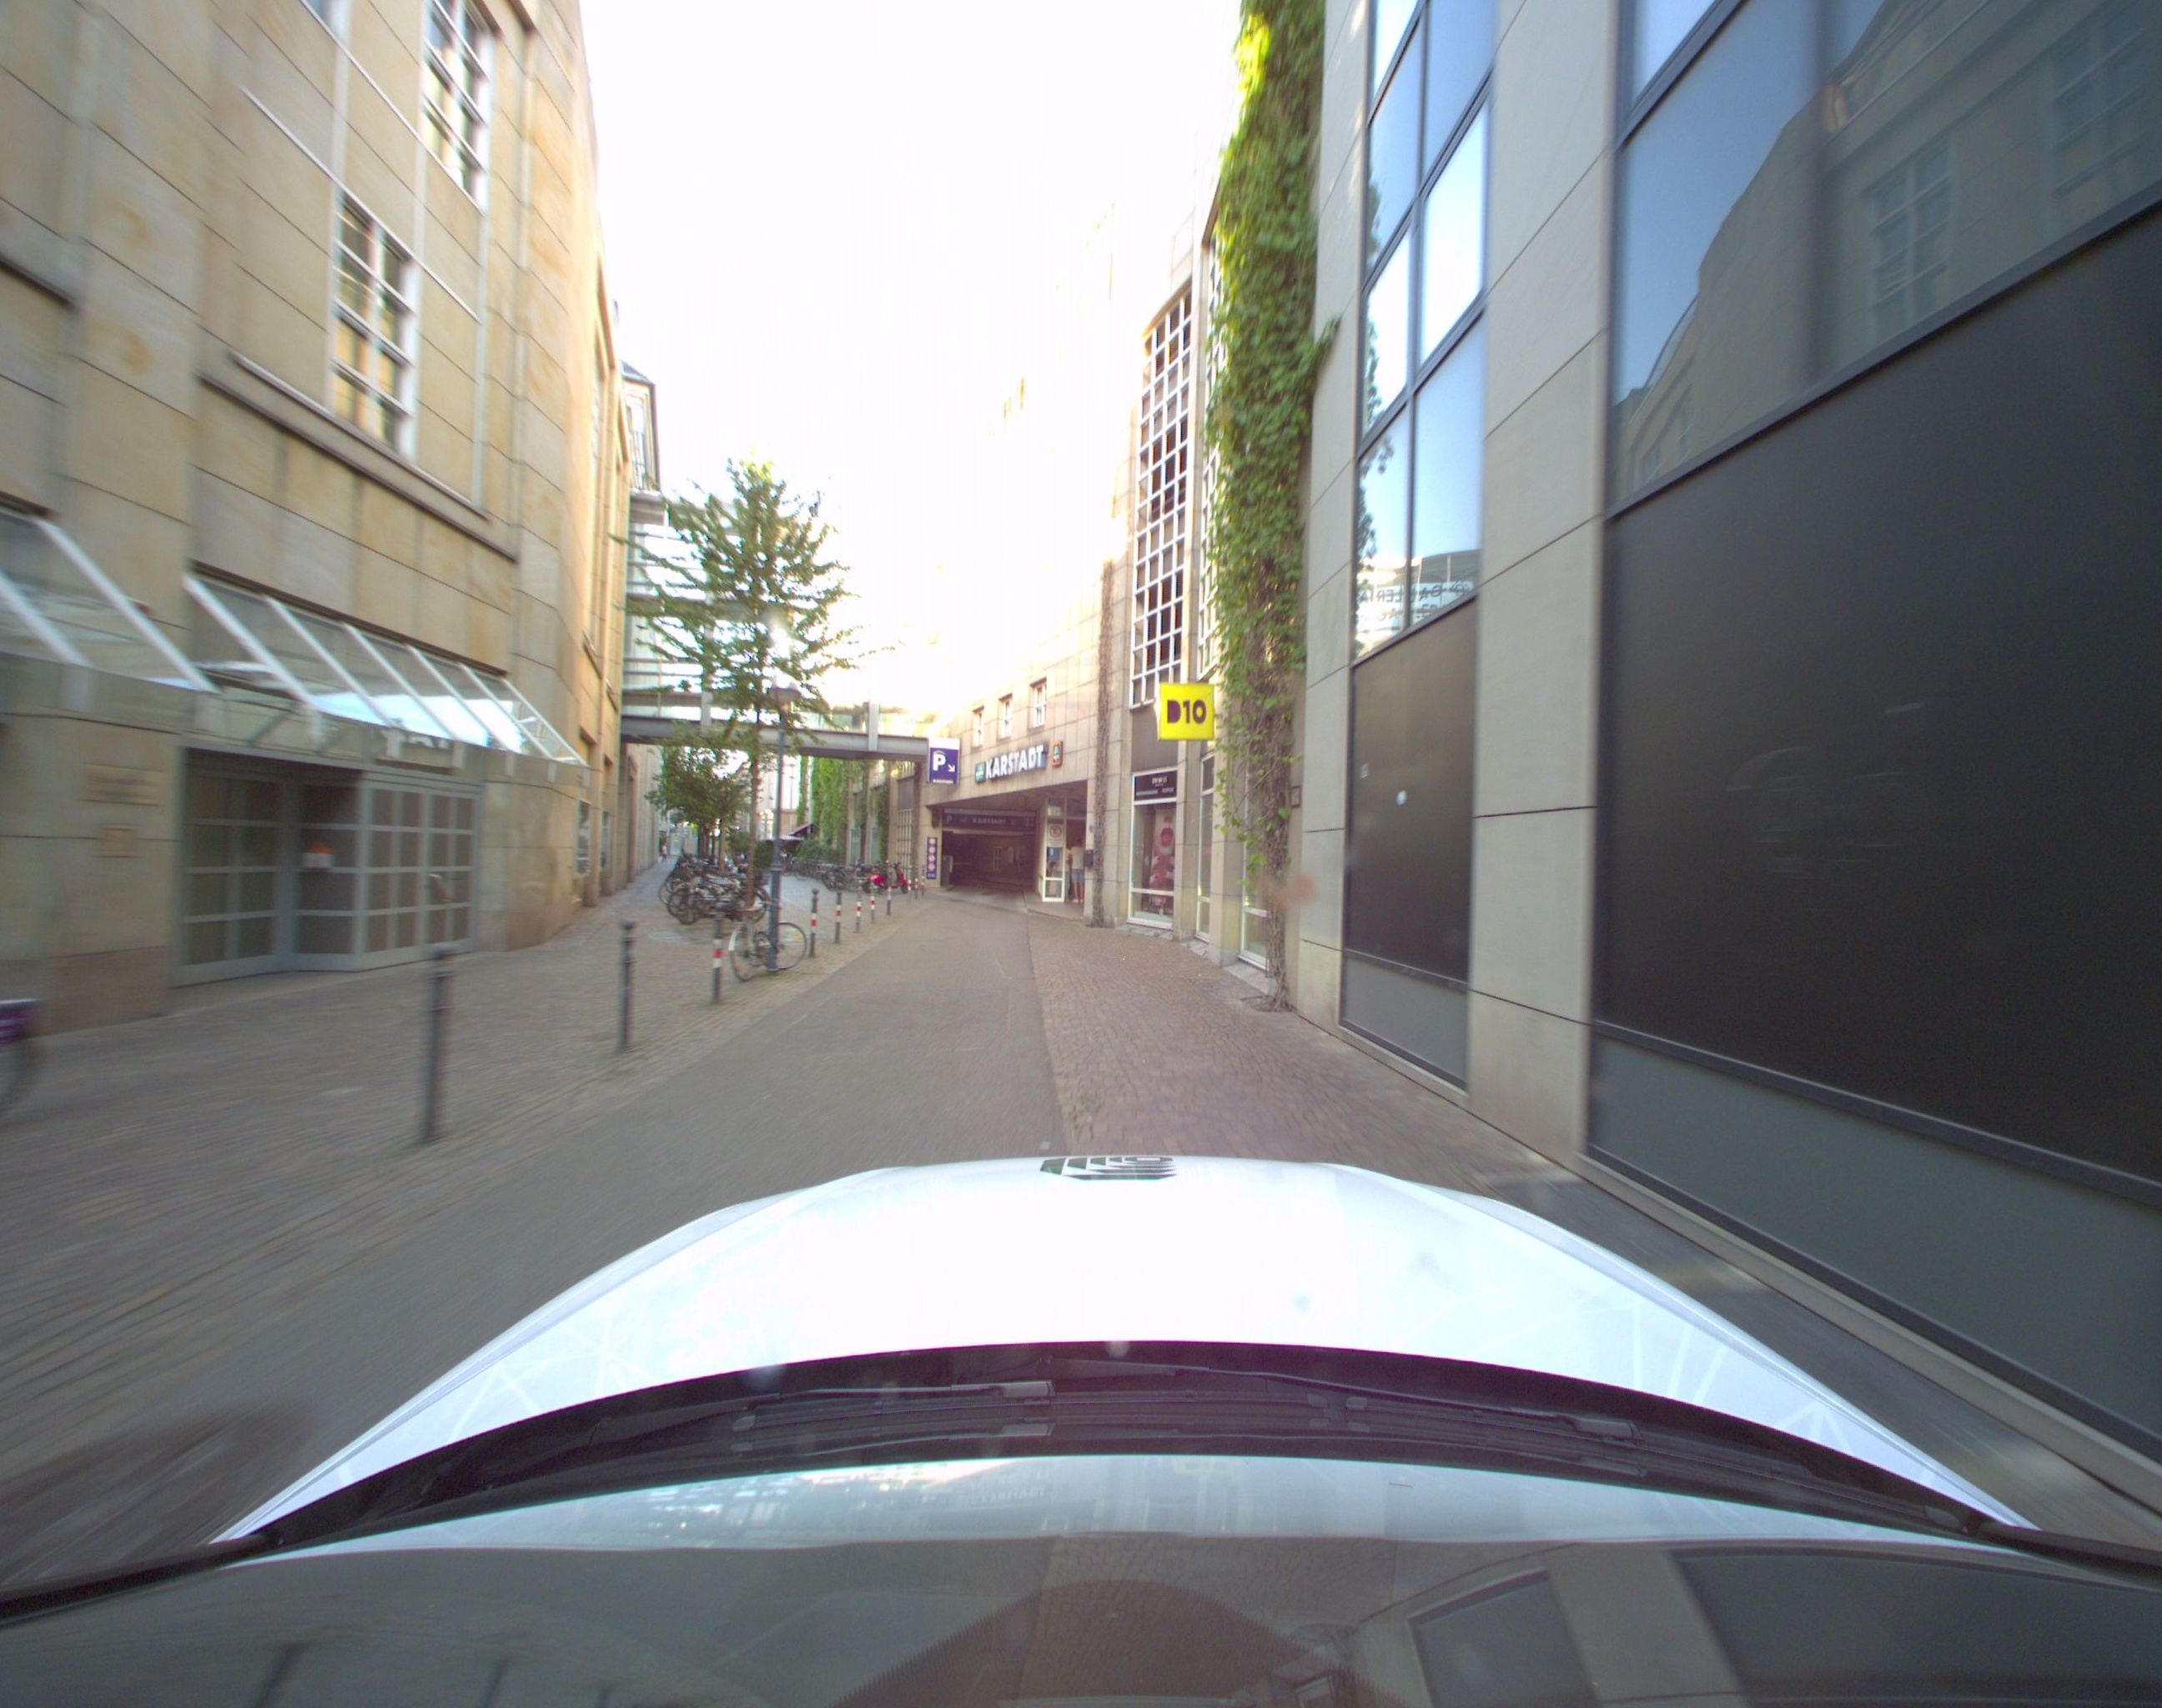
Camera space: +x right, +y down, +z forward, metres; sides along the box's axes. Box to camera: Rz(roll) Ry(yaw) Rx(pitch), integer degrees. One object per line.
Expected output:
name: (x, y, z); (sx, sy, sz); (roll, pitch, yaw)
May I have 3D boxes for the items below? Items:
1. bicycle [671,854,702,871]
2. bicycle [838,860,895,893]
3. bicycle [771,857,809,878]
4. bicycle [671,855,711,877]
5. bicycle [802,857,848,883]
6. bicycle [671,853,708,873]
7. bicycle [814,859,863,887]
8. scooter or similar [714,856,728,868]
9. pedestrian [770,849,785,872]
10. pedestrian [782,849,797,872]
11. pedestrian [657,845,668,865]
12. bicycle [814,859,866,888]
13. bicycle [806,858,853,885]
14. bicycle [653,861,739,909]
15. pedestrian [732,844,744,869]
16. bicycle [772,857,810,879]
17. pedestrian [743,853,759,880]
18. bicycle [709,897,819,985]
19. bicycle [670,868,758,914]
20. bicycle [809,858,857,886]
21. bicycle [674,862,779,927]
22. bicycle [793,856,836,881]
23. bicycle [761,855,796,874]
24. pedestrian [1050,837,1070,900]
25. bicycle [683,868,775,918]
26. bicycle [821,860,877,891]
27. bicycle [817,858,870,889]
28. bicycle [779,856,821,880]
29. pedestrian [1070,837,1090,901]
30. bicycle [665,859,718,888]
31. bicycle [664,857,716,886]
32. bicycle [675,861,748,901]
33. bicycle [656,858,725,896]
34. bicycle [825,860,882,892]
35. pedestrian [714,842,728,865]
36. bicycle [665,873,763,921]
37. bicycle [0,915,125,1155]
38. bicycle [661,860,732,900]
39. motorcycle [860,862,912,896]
bicycle: (-28.185, 0.637, 58.214); (1.920, 1.182, 0.691); (1, 0, -22)
bicycle: (-8.040, 0.836, 30.536); (2.003, 1.182, 0.690); (-1, 0, -25)
bicycle: (-16.831, 0.757, 47.072); (2.003, 1.182, 0.688); (-1, 0, -25)
bicycle: (-21.619, 0.650, 45.182); (1.920, 1.182, 0.691); (1, 0, -22)
bicycle: (-12.147, 0.741, 38.669); (2.003, 1.182, 0.688); (-1, 0, -25)
bicycle: (-23.539, 0.559, 48.981); (1.920, 1.182, 0.691); (1, 0, -22)
bicycle: (-10.597, 0.819, 35.618); (2.003, 1.182, 0.688); (-1, 0, -25)
scooter or similar: (-26.148, 0.553, 59.189); (0.896, 0.843, 0.903); (1, 0, -26)
pedestrian: (-23.791, 0.493, 63.812); (0.771, 1.804, 0.768); (1, -1, 4)
pedestrian: (-22.802, 0.515, 63.741); (0.771, 1.804, 0.768); (1, -1, 4)
pedestrian: (-36.775, 0.085, 71.547); (0.779, 1.804, 0.628); (1, -1, -31)
bicycle: (-10.258, 0.829, 34.660); (2.003, 1.182, 0.796); (-1, 0, -25)
bicycle: (-11.615, 0.803, 37.644); (2.003, 1.182, 0.688); (-1, 0, -25)
bicycle: (-9.841, 0.792, 20.880); (1.920, 1.182, 0.691); (1, 0, -22)
pedestrian: (-24.964, 0.160, 59.233); (0.769, 1.804, 0.770); (1, -1, -27)
bicycle: (-16.491, 0.775, 46.292); (2.003, 1.182, 0.688); (-1, 0, -25)
pedestrian: (-18.374, 0.678, 45.310); (0.752, 1.509, 0.632); (1, -1, -27)
bicycle: (-4.092, 1.095, 10.642); (0.502, 0.966, 1.699); (1, 0, 10)
bicycle: (-9.005, 0.904, 20.058); (1.920, 1.101, 0.691); (1, 0, -22)
bicycle: (-11.094, 0.797, 36.455); (2.003, 1.182, 0.688); (-1, 0, -25)
bicycle: (-7.250, 0.811, 16.701); (1.922, 1.261, 0.802); (1, 0, -25)
bicycle: (-13.391, 0.716, 40.914); (2.003, 1.182, 0.688); (-1, 0, -25)
bicycle: (-19.077, 0.654, 51.355); (2.003, 1.182, 0.688); (-1, 0, -25)
pedestrian: (-0.619, 0.426, 24.382); (0.540, 1.846, 0.408); (1, 0, 1)
bicycle: (-8.177, 0.891, 18.949); (1.922, 1.101, 0.690); (1, 0, -25)
bicycle: (-9.160, 0.835, 32.172); (2.003, 1.182, 0.796); (-1, 0, -25)
bicycle: (-9.703, 0.778, 33.256); (2.003, 1.182, 0.796); (-1, 0, -25)
bicycle: (-14.711, 0.726, 42.607); (2.003, 1.182, 0.688); (-1, 0, -25)
pedestrian: (-0.015, 0.442, 24.201); (0.540, 1.861, 0.408); (1, 0, 1)
bicycle: (-16.318, 0.802, 34.155); (1.920, 1.182, 0.691); (1, 0, -22)
bicycle: (-16.743, 0.744, 34.924); (1.920, 1.182, 0.691); (1, 0, -22)
bicycle: (-11.073, 0.812, 24.464); (1.920, 1.182, 0.691); (1, 0, -22)
bicycle: (-12.492, 0.745, 26.112); (1.920, 1.182, 0.691); (1, 0, -22)
bicycle: (-8.750, 0.842, 31.328); (2.003, 1.182, 0.690); (-1, 0, -25)
pedestrian: (-26.537, -0.021, 60.003); (0.896, 1.639, 0.903); (1, -1, -26)
bicycle: (-8.105, 0.935, 18.034); (1.922, 0.994, 0.690); (1, 0, -25)
bicycle: (-5.650, 0.895, 3.556); (0.689, 1.112, 1.782); (1, 0, 10)
bicycle: (-11.843, 0.796, 25.130); (1.920, 1.182, 0.691); (1, 0, -22)
motorcycle: (-6.940, 0.879, 28.963); (1.753, 1.155, 0.590); (0, 0, -22)
